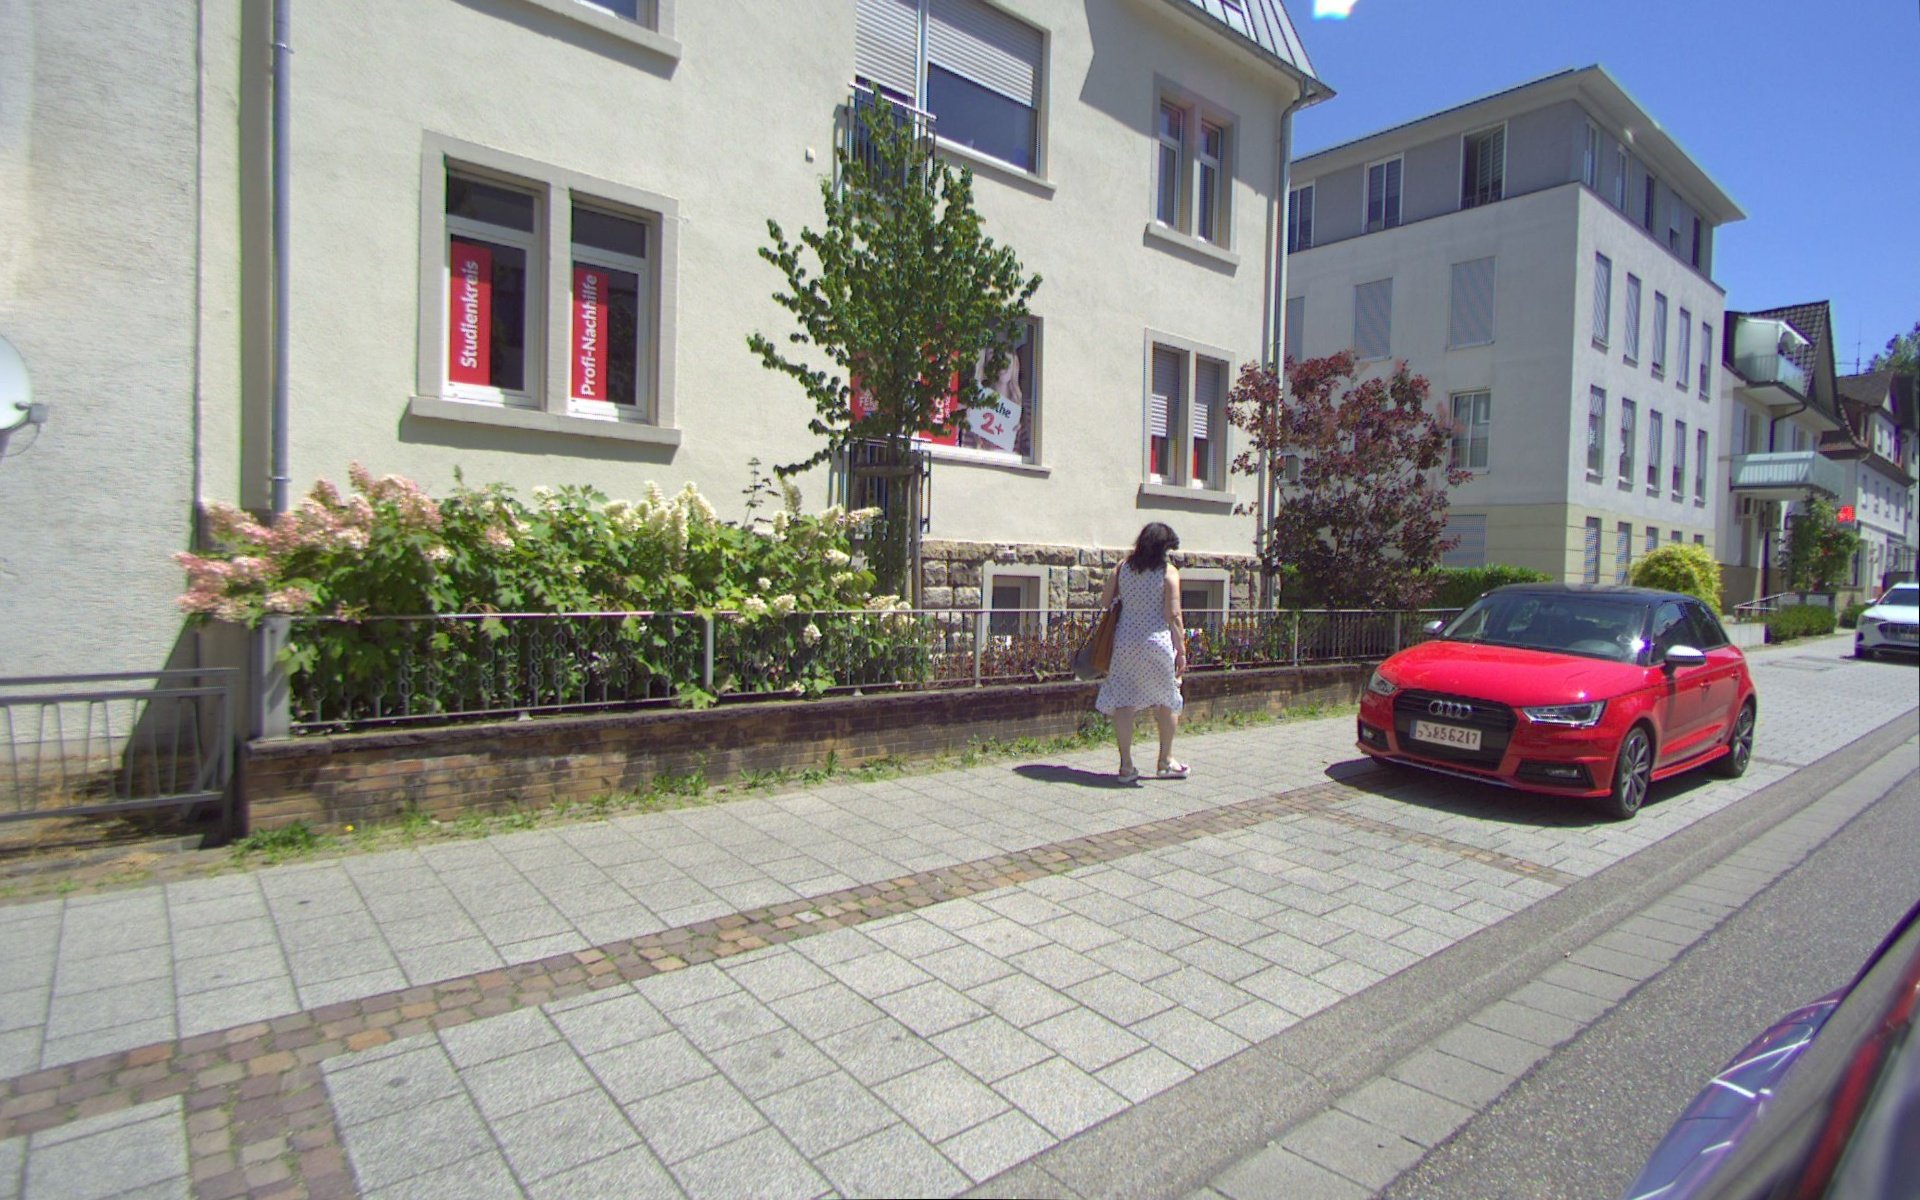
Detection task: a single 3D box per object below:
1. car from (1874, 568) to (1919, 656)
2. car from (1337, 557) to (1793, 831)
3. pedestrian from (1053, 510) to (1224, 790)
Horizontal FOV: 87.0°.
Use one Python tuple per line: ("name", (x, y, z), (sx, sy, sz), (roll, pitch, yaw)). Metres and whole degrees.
("car", (20.733, 0.246, 21.159), (4.498, 1.686, 1.710), (-1, 4, -40))
("car", (4.603, 0.503, 7.508), (3.783, 1.458, 1.608), (0, 5, -39))
("pedestrian", (1.164, 0.284, 6.645), (0.693, 1.689, 0.742), (0, 4, -41))
